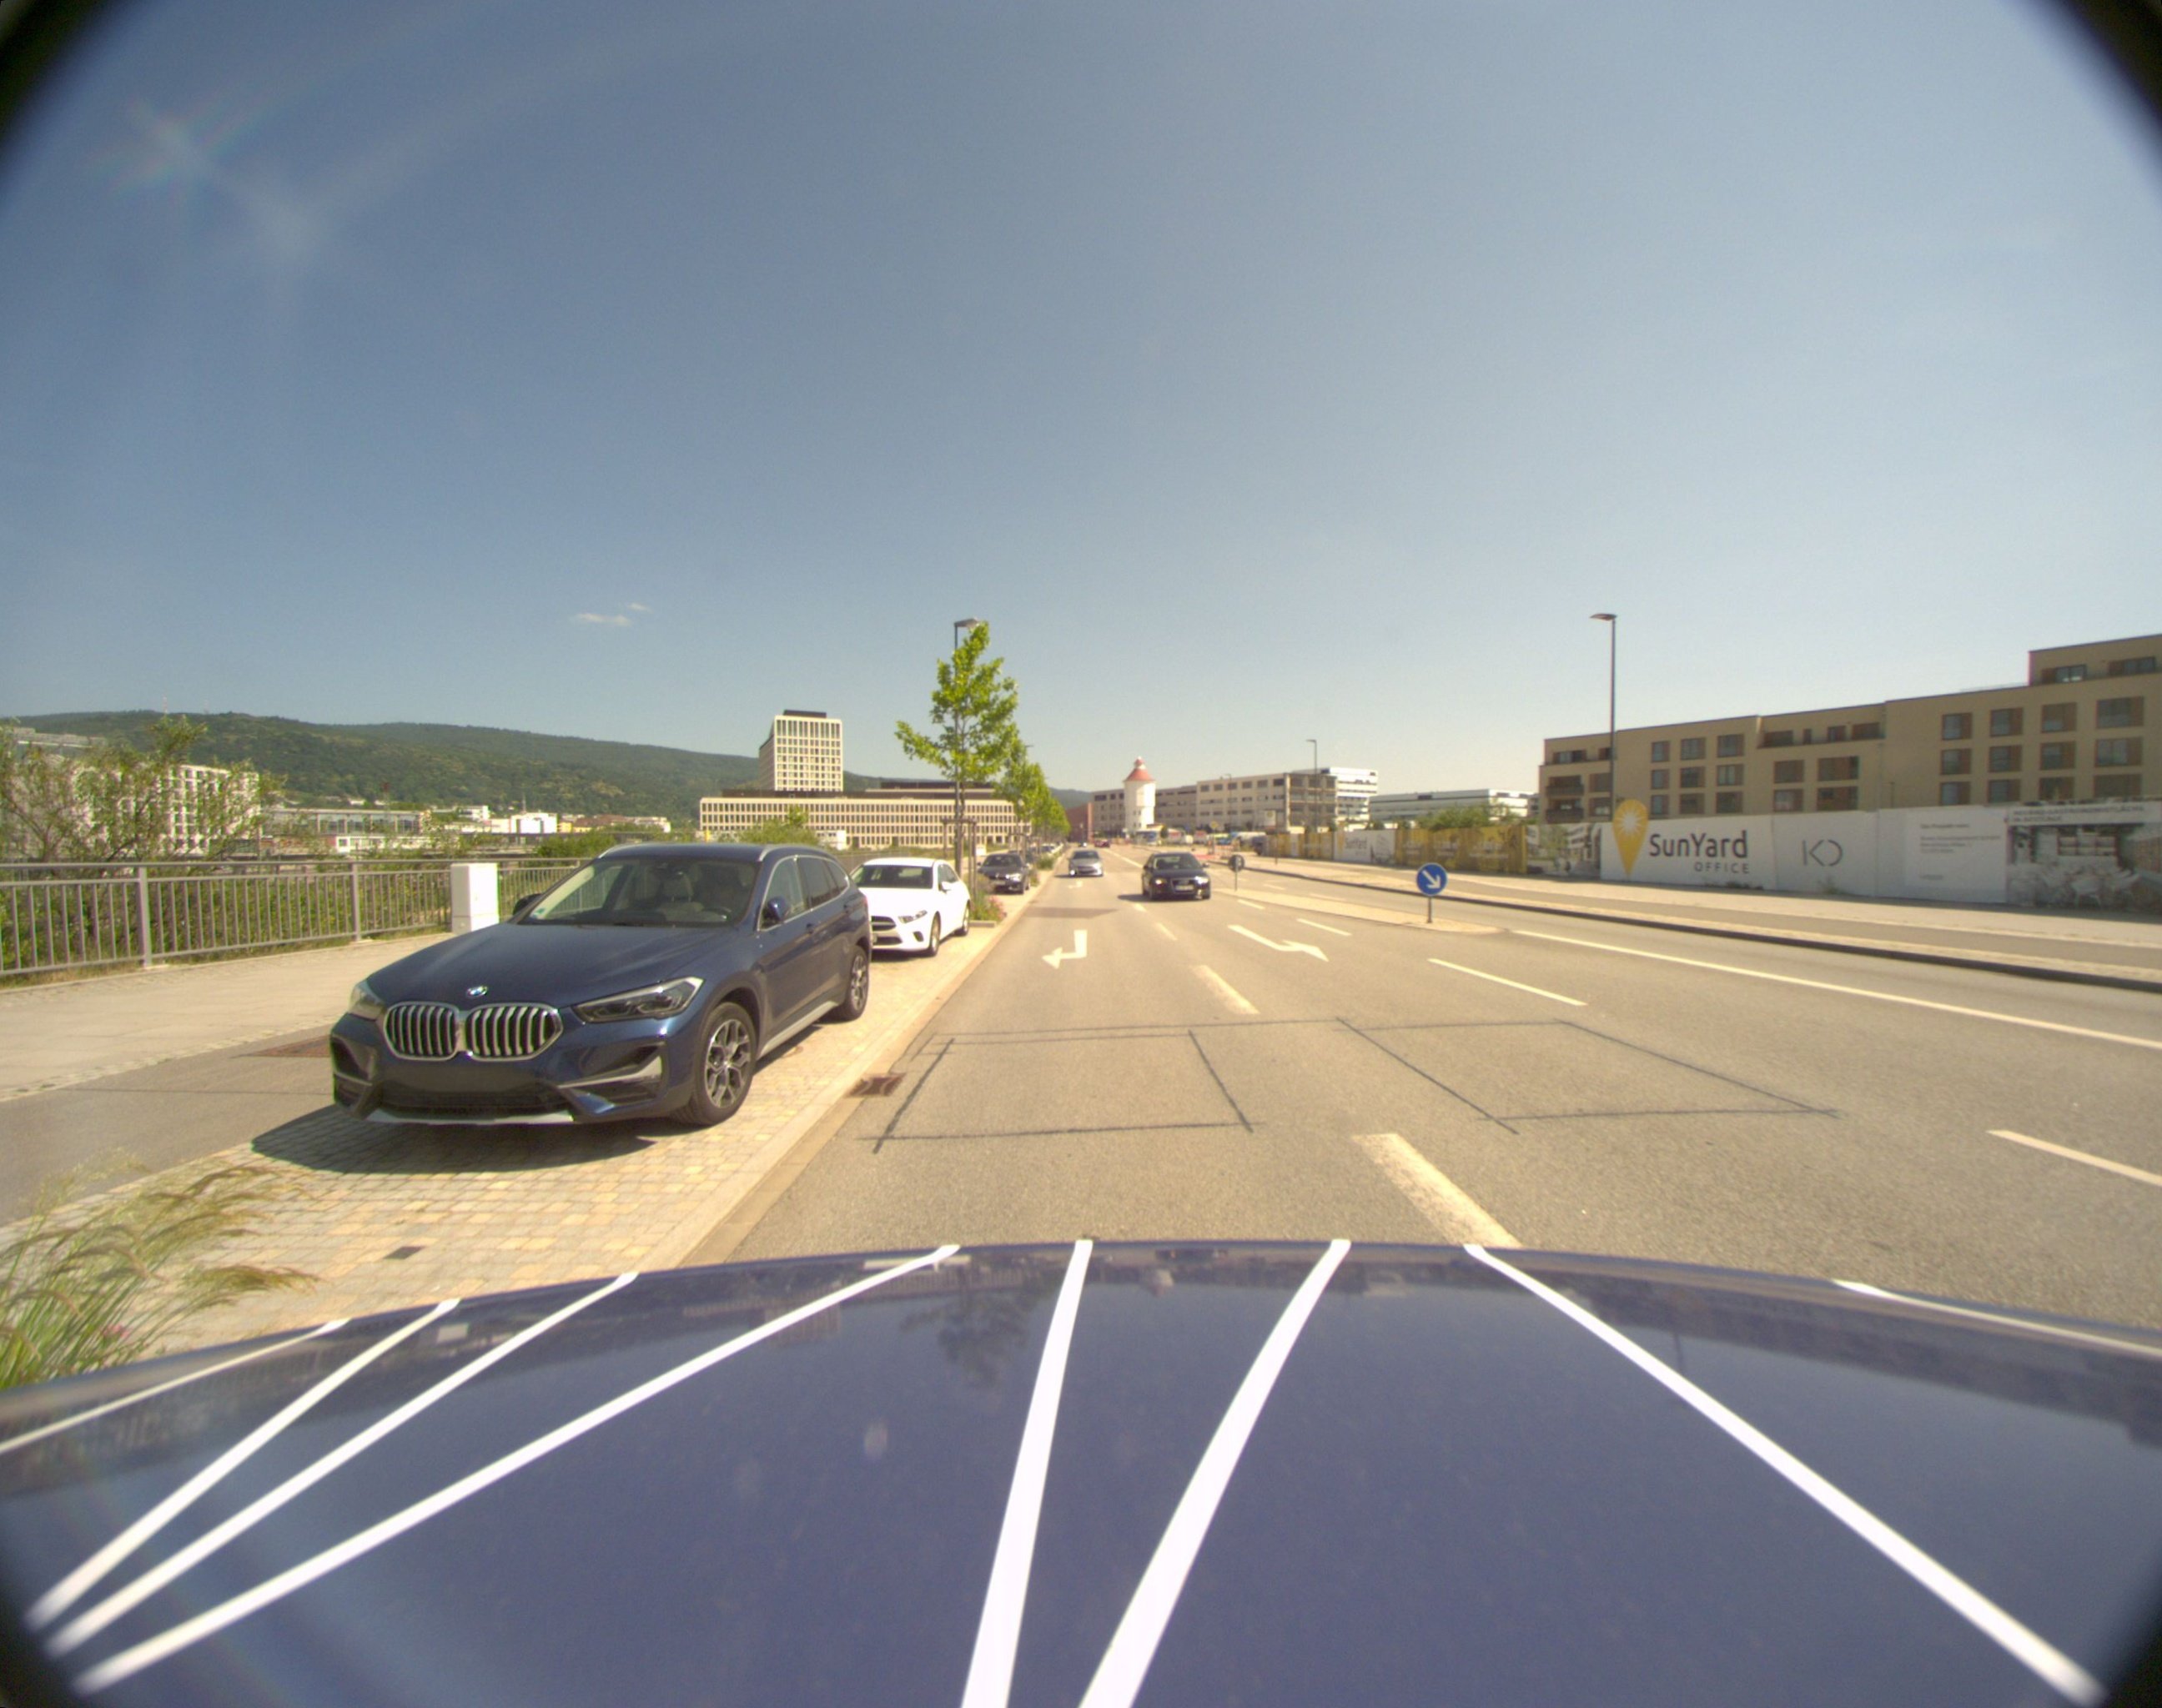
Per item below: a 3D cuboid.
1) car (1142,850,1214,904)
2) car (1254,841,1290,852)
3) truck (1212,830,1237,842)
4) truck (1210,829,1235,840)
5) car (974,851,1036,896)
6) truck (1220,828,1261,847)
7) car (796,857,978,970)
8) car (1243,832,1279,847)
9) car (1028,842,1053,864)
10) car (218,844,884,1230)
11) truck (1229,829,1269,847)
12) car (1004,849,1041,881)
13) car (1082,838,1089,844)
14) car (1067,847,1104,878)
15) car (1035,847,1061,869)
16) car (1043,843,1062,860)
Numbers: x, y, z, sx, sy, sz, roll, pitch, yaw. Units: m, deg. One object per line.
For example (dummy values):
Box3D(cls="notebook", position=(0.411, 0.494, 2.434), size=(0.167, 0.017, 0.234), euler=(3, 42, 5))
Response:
Box3D(cls="car", position=(2.919, 0.634, 23.536), size=(1.709, 1.404, 3.999), euler=(-3, 1, 1))
Box3D(cls="car", position=(19.582, -0.783, 77.972), size=(3.359, 0.947, 1.293), euler=(-2, 1, 3))
Box3D(cls="truck", position=(33.366, -4.166, 177.328), size=(5.333, 2.461, 1.999), euler=(-3, 1, -4))
Box3D(cls="truck", position=(34.524, -4.691, 185.473), size=(5.412, 2.461, 1.999), euler=(-2, 1, -2))
Box3D(cls="car", position=(-2.709, 0.643, 27.884), size=(1.808, 1.424, 3.915), euler=(2, 1, 0))
Box3D(cls="truck", position=(23.757, -2.452, 113.395), size=(5.633, 2.461, 1.999), euler=(-3, 1, -4))
Box3D(cls="car", position=(-2.921, 0.818, 12.432), size=(1.710, 1.366, 4.270), euler=(2, 1, 2))
Box3D(cls="car", position=(22.873, -1.858, 96.530), size=(3.930, 1.708, 1.891), euler=(-3, 1, -5))
Box3D(cls="car", position=(-3.210, -0.114, 60.989), size=(1.768, 1.609, 3.373), euler=(-3, 1, 0))
Box3D(cls="car", position=(-2.897, 0.788, 5.500), size=(1.808, 1.674, 4.270), euler=(1, 1, 0))
Box3D(cls="truck", position=(23.392, -2.246, 105.871), size=(5.005, 2.215, 1.999), euler=(-2, 1, -1))
Box3D(cls="car", position=(-2.911, 0.498, 38.145), size=(1.569, 1.465, 3.006), euler=(2, 1, 0))
Box3D(cls="car", position=(1.214, -3.438, 204.182), size=(1.819, 1.458, 4.347), euler=(-3, 1, 2))
Box3D(cls="car", position=(0.268, 0.412, 41.200), size=(1.820, 1.459, 4.346), euler=(-2, 1, 1))
Box3D(cls="car", position=(-2.168, 0.241, 50.367), size=(1.490, 1.302, 3.154), euler=(2, 1, 0))
Box3D(cls="car", position=(-2.660, -0.274, 70.598), size=(1.526, 1.482, 3.504), euler=(-3, 1, 0))
